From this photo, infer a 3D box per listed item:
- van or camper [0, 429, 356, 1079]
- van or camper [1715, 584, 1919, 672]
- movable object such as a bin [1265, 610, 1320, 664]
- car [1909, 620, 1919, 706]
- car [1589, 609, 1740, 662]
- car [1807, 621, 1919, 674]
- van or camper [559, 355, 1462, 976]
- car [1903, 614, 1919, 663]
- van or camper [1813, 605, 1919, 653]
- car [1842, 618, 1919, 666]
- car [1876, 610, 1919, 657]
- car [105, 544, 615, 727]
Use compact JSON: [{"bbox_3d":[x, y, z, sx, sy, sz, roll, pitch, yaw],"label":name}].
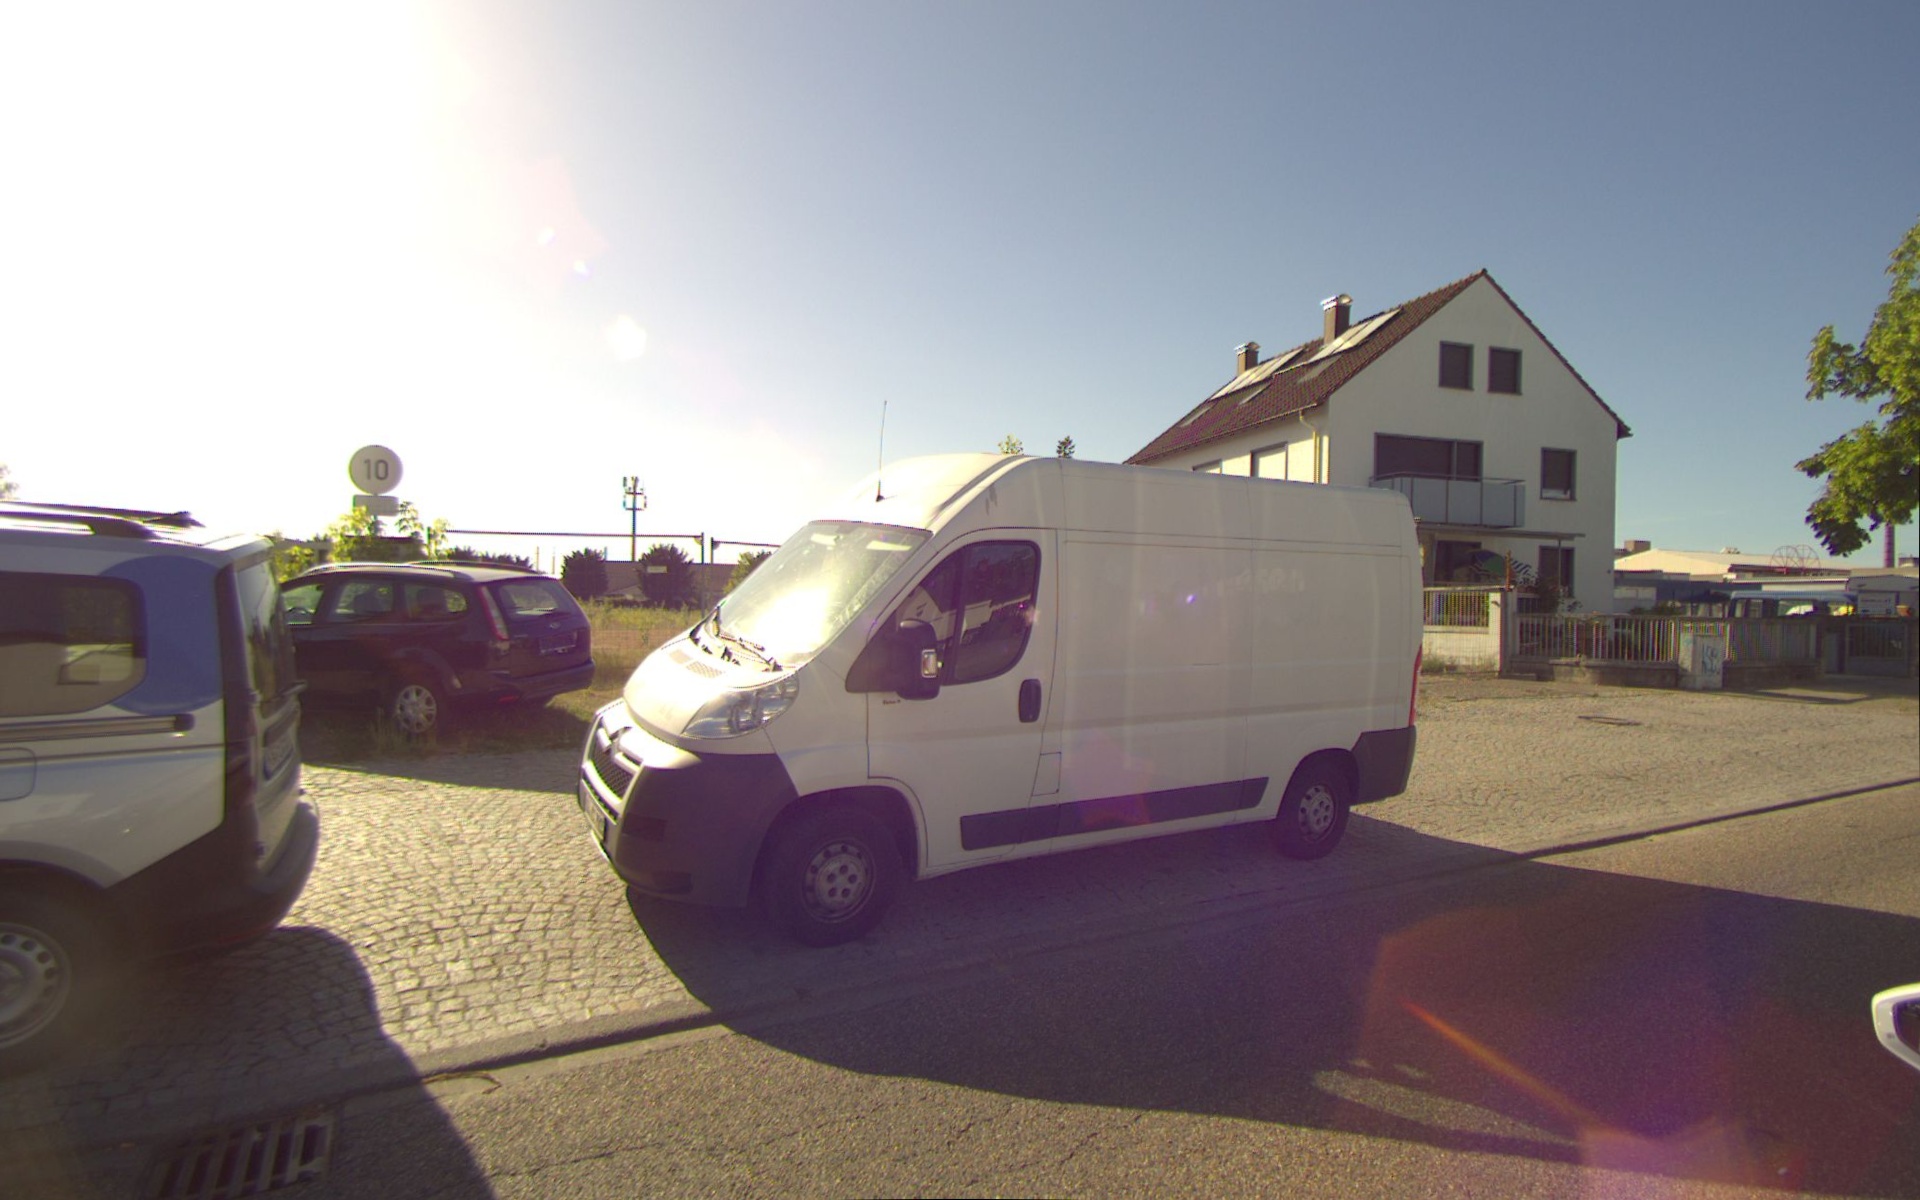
[{"bbox_3d":[-4.510,0.416,3.311,4.229,2.041,1.868,1,3,-30],"label":"van or camper"},{"bbox_3d":[25.538,0.756,29.586,2.208,2.351,4.890,2,0,-17],"label":"van or camper"},{"bbox_3d":[8.884,0.975,26.855,1.236,1.409,0.636,1,0,-16],"label":"movable object such as a bin"},{"bbox_3d":[18.452,1.143,17.407,4.157,1.454,1.679,1,2,-29],"label":"car"},{"bbox_3d":[23.523,1.156,33.716,1.651,1.600,3.982,3,-1,-16],"label":"car"},{"bbox_3d":[30.421,1.536,32.542,1.741,1.562,4.237,1,0,-24],"label":"car"},{"bbox_3d":[0.556,0.264,6.440,5.494,2.523,2.110,1,3,-33],"label":"van or camper"},{"bbox_3d":[36.332,1.421,35.376,1.743,1.776,4.234,1,-1,-26],"label":"car"},{"bbox_3d":[54.809,1.750,60.685,6.174,2.751,2.162,1,0,-20],"label":"van or camper"},{"bbox_3d":[32.473,1.408,33.532,1.742,1.562,4.236,0,0,-25],"label":"car"},{"bbox_3d":[34.593,1.224,34.557,1.745,1.607,4.227,1,0,-31],"label":"car"},{"bbox_3d":[-5.825,0.287,9.925,4.299,1.534,1.615,1,0,10],"label":"car"}]
